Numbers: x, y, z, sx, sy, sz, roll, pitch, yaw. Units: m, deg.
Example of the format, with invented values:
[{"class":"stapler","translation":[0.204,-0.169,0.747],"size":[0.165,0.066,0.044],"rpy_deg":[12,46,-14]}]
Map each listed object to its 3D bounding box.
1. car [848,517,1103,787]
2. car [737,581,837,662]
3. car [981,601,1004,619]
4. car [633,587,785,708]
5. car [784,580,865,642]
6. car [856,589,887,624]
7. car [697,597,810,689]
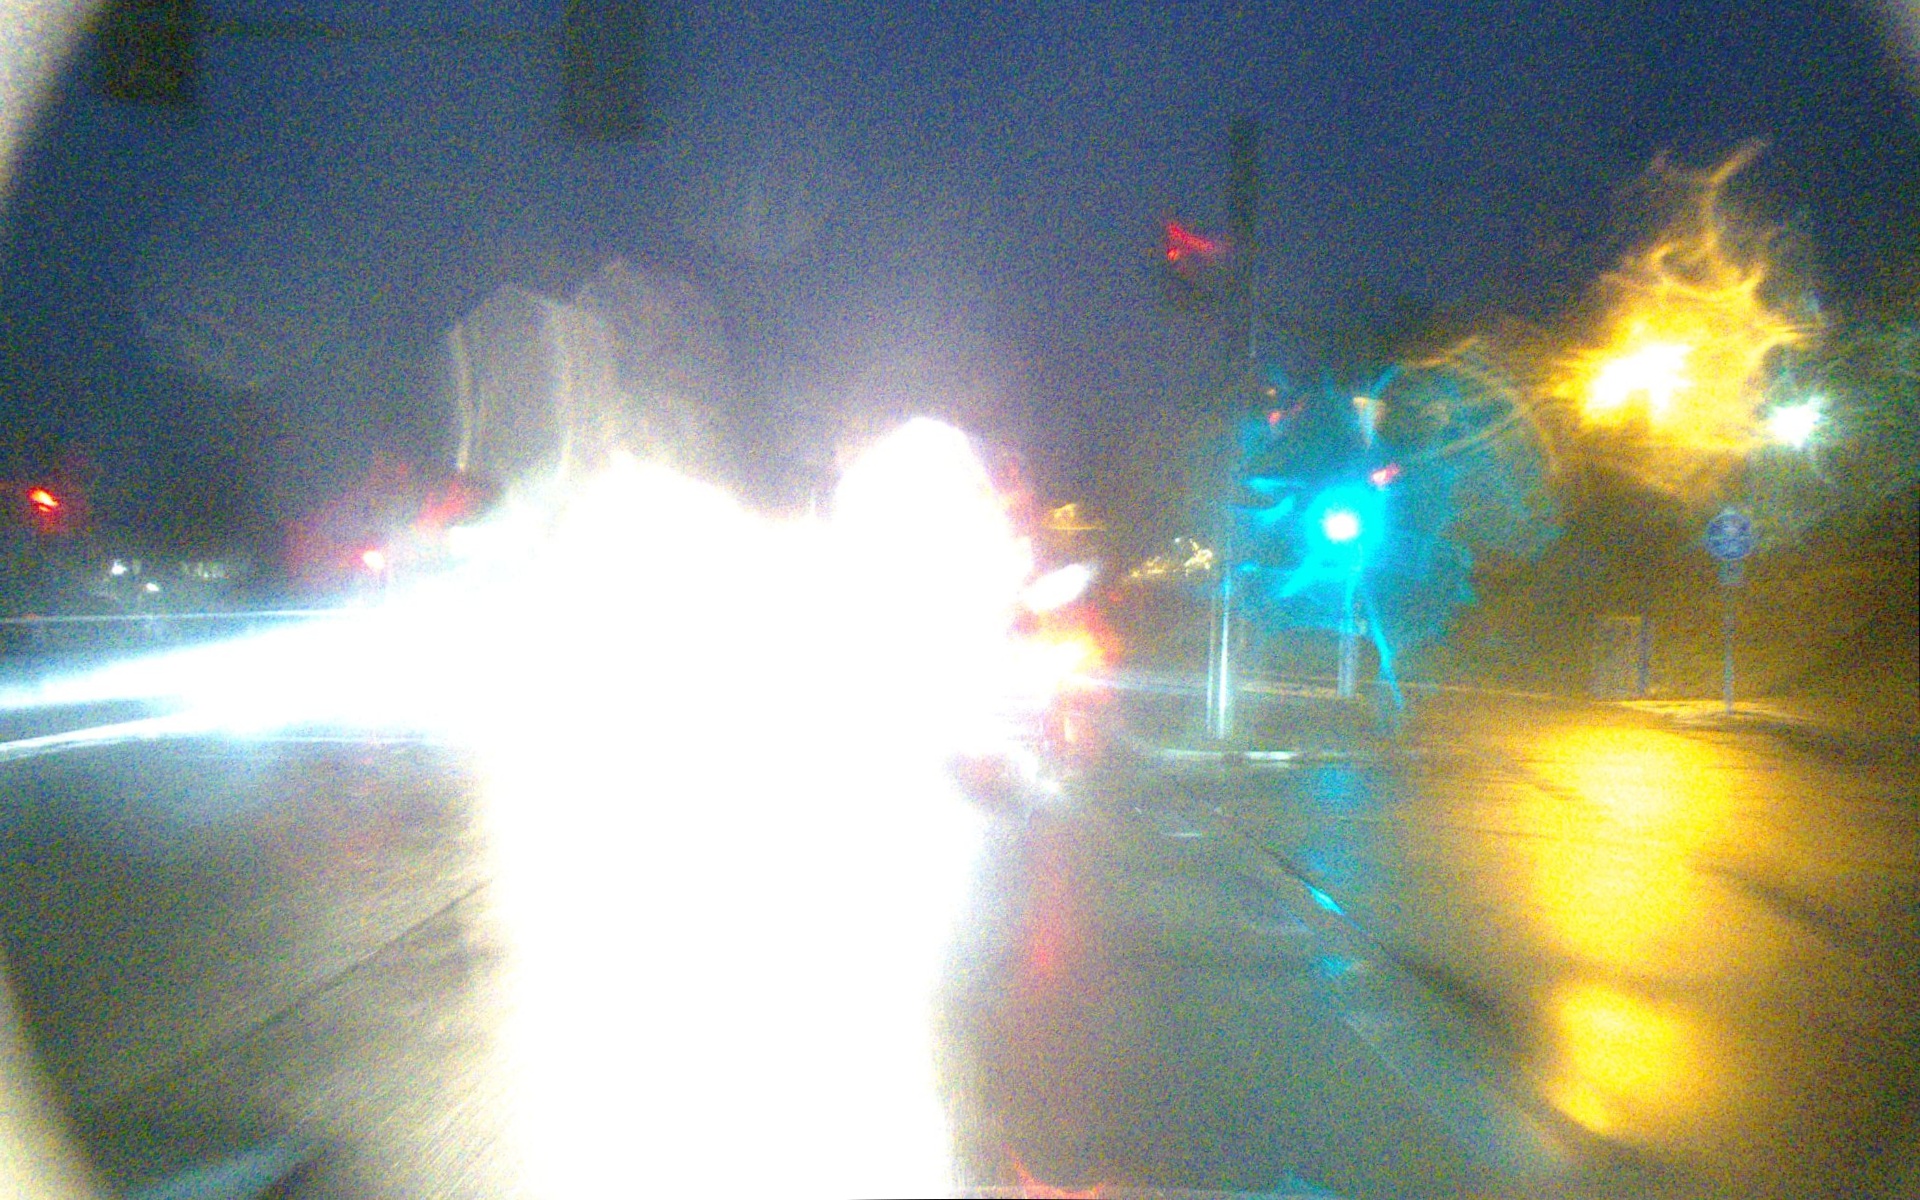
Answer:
[{"class":"car","translation":[0.069,0.398,14.606],"size":[1.903,2.006,4.217],"rpy_deg":[1,0,-1]},{"class":"car","translation":[-3.839,0.449,37.329],"size":[1.806,1.698,4.444],"rpy_deg":[1,0,-1]},{"class":"car","translation":[2.870,0.879,145.728],"size":[1.628,1.475,4.052],"rpy_deg":[0,-1,6]},{"class":"car","translation":[-3.354,0.601,22.654],"size":[1.635,1.498,3.632],"rpy_deg":[1,0,-2]},{"class":"car","translation":[-3.701,0.298,45.955],"size":[1.806,1.602,4.597],"rpy_deg":[1,0,0]},{"class":"car","translation":[-7.314,0.553,137.109],"size":[2.079,2.755,6.240],"rpy_deg":[1,0,0]},{"class":"car","translation":[-3.560,0.705,29.041],"size":[1.589,1.498,3.883],"rpy_deg":[1,0,-2]}]
